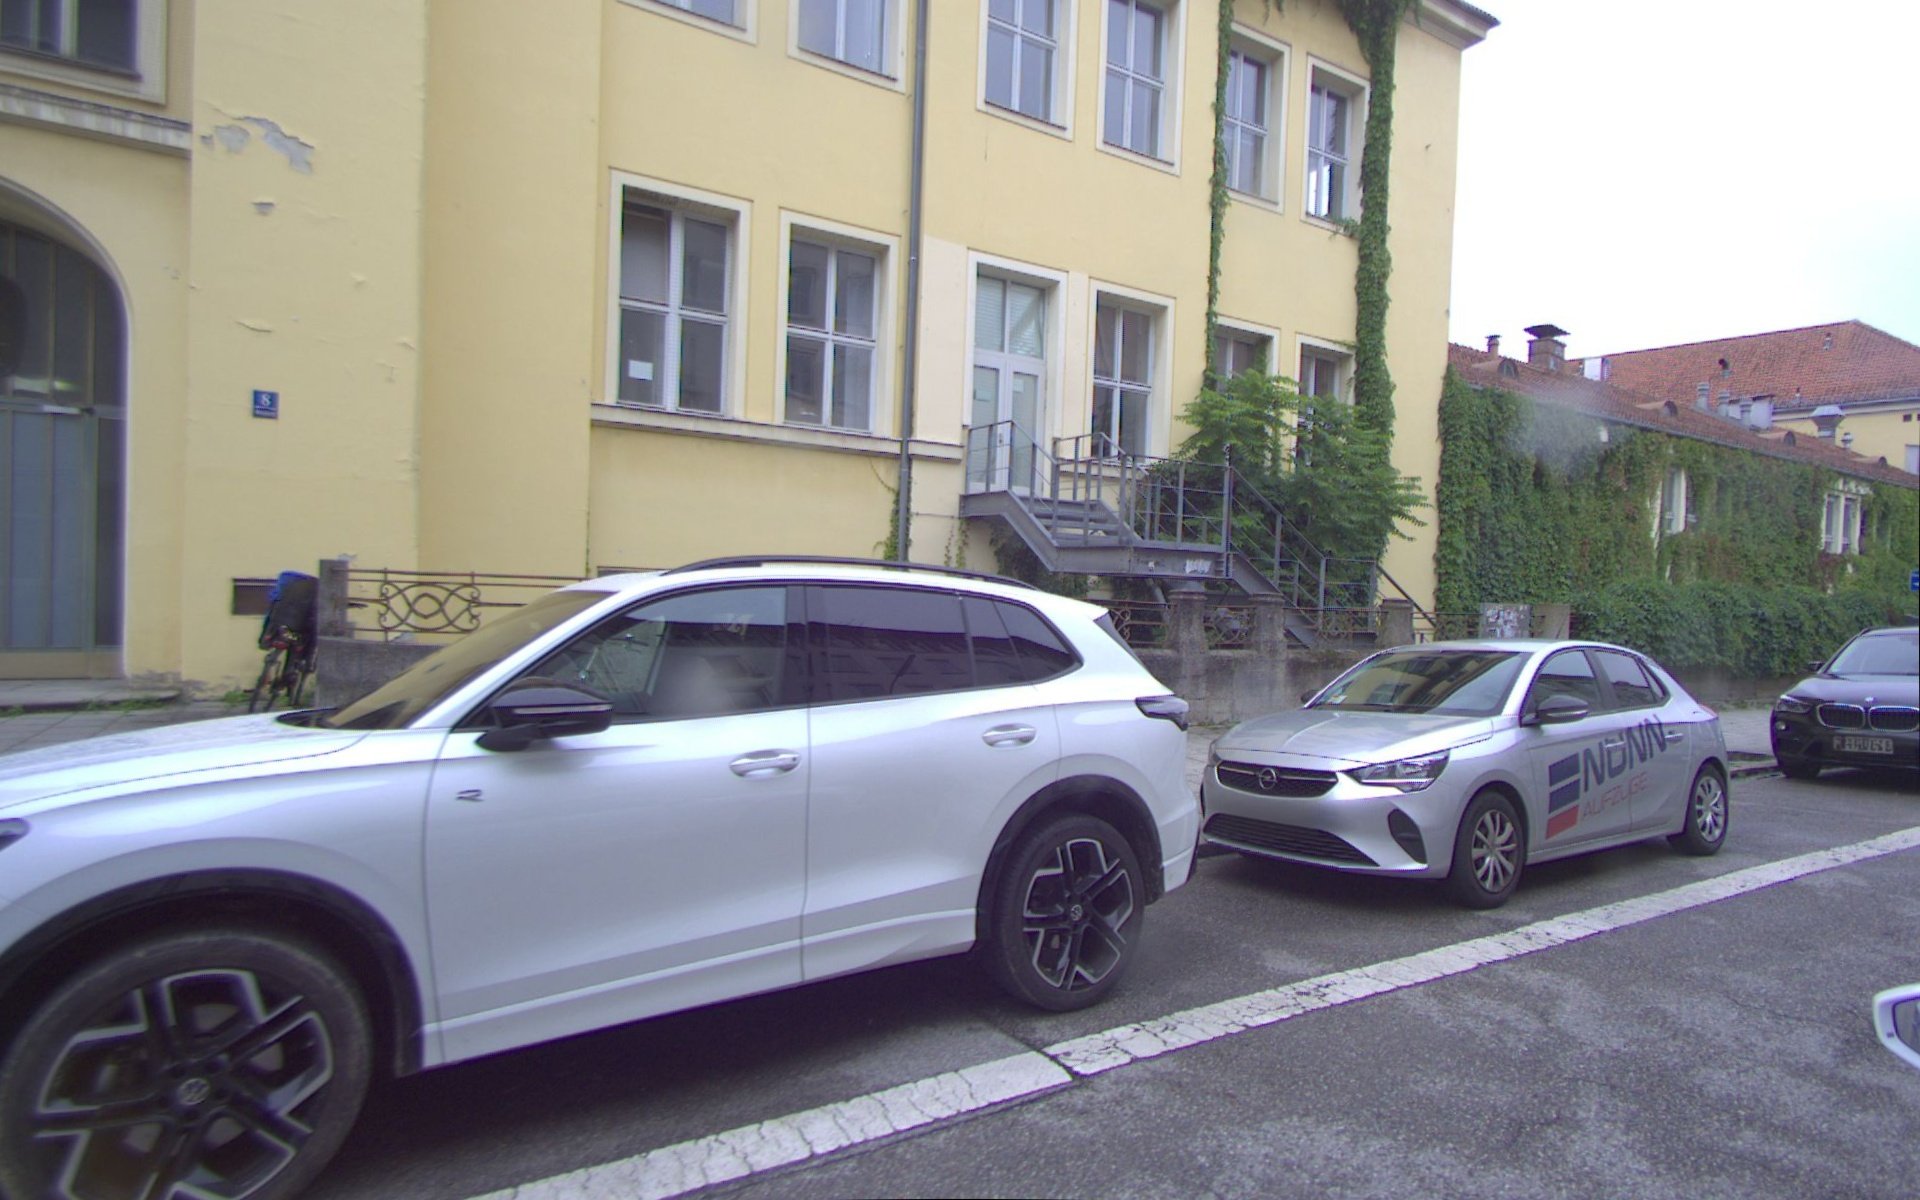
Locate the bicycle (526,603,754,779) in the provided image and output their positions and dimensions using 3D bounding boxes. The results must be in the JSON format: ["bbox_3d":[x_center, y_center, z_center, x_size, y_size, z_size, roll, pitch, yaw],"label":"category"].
[{"bbox_3d":[-2.446,0.669,7.721,1.543,1.205,0.574,2,4,-30],"label":"bicycle"}]

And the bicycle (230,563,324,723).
[{"bbox_3d":[-5.918,0.326,8.759,0.572,1.205,1.548,1,4,-31],"label":"bicycle"}]

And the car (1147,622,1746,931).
[{"bbox_3d":[3.211,0.912,6.461,3.851,1.444,1.671,2,-3,-32],"label":"car"}]

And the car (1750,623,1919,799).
[{"bbox_3d":[10.191,1.060,10.522,4.150,1.558,1.771,2,-1,-33],"label":"car"}]

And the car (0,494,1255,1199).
[{"bbox_3d":[-1.002,0.677,3.710,4.312,1.655,1.670,2,-2,-34],"label":"car"}]
